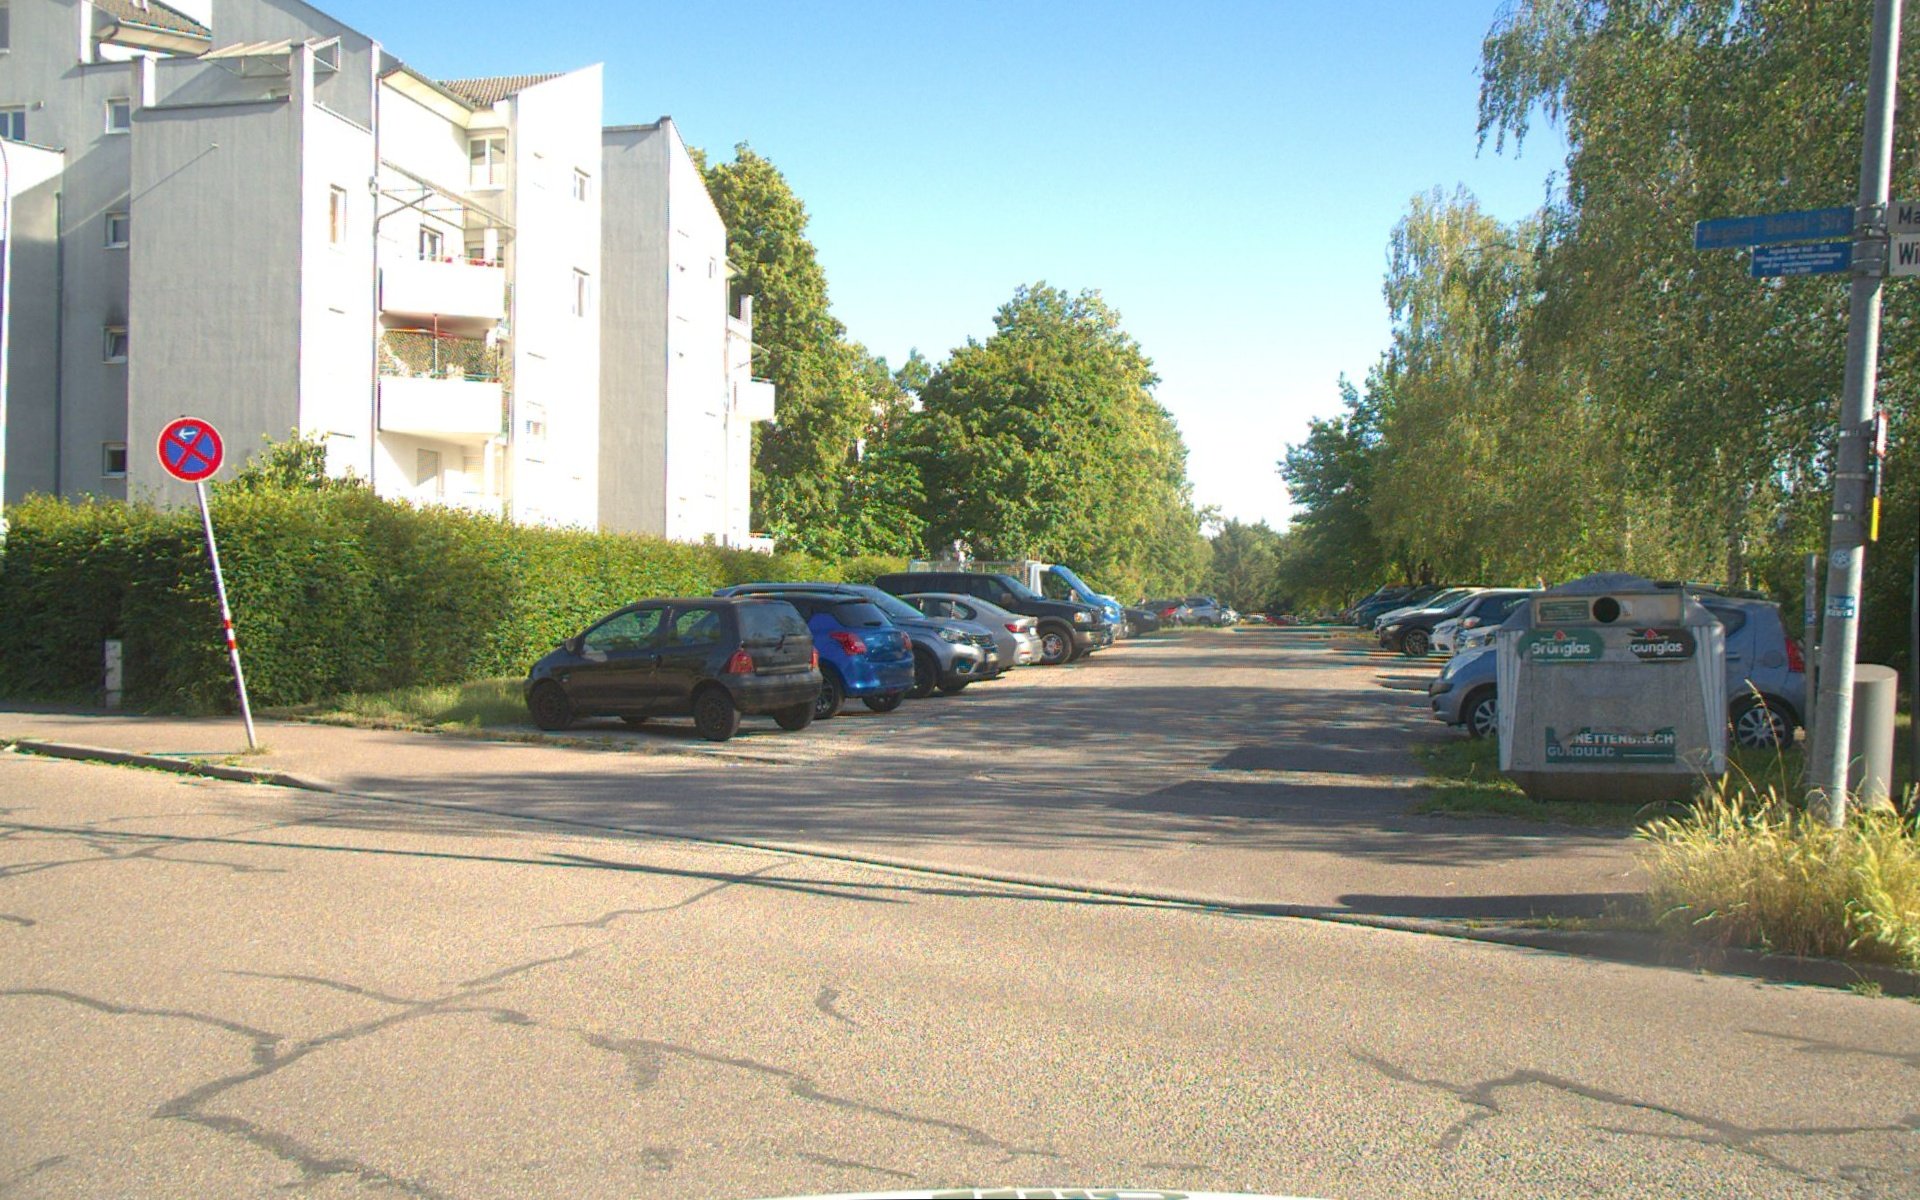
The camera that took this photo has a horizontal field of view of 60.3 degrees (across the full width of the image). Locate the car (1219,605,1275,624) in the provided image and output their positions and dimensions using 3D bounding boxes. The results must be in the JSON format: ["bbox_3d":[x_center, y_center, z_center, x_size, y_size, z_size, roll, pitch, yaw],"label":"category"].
[{"bbox_3d":[18.939,0.962,109.188,3.567,1.234,1.849,0,0,12],"label":"car"}]

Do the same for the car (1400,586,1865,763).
[{"bbox_3d":[6.466,0.647,16.069,3.973,1.464,1.633,2,0,26],"label":"car"}]

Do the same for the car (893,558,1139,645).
[{"bbox_3d":[1.506,0.027,43.358,6.122,2.184,2.413,0,0,11],"label":"car"}]

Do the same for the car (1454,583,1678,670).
[{"bbox_3d":[11.579,0.484,31.802,3.903,1.529,1.949,1,0,18],"label":"car"}]

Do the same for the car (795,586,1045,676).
[{"bbox_3d":[-0.665,0.534,28.568,4.054,1.480,1.621,-1,0,11],"label":"car"}]

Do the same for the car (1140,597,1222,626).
[{"bbox_3d":[10.875,0.551,81.206,3.855,1.357,1.849,0,0,12],"label":"car"}]

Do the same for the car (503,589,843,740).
[{"bbox_3d":[-3.204,0.647,18.382,3.456,1.492,1.701,1,1,30],"label":"car"}]

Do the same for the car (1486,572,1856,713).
[{"bbox_3d":[8.929,0.494,21.077,3.966,1.631,1.792,1,1,8],"label":"car"}]

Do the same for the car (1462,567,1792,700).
[{"bbox_3d":[9.430,0.433,23.657,4.016,1.736,1.792,1,1,7],"label":"car"}]

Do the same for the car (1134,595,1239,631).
[{"bbox_3d":[8.750,0.481,63.734,3.855,1.357,1.849,0,0,12],"label":"car"}]

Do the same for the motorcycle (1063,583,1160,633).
[{"bbox_3d":[5.069,0.265,55.373,3.123,1.624,0.924,0,0,14],"label":"motorcycle"}]

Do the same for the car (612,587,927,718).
[{"bbox_3d":[-2.395,0.618,20.755,3.607,1.523,1.650,-1,0,26],"label":"car"}]

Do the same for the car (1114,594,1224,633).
[{"bbox_3d":[7.708,0.479,60.729,3.855,1.357,1.849,0,0,12],"label":"car"}]

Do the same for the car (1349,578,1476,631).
[{"bbox_3d":[14.763,0.153,54.019,3.903,1.613,1.799,1,0,16],"label":"car"}]

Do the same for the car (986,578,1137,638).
[{"bbox_3d":[3.176,0.220,51.520,4.426,1.802,1.848,0,0,14],"label":"car"}]

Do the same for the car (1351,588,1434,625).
[{"bbox_3d":[21.389,0.319,81.822,3.903,1.738,1.799,1,0,16],"label":"car"}]

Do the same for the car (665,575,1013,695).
[{"bbox_3d":[-1.810,0.503,24.775,4.887,1.683,1.785,-1,0,19],"label":"car"}]

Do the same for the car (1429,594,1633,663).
[{"bbox_3d":[11.832,0.573,34.417,3.903,1.300,1.798,1,0,18],"label":"car"}]

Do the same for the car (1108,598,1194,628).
[{"bbox_3d":[9.052,0.612,78.243,3.855,1.357,1.849,0,0,12],"label":"car"}]

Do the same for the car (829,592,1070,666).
[{"bbox_3d":[-0.181,0.537,32.278,4.357,1.358,1.848,0,0,15],"label":"car"}]

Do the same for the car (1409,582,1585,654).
[{"bbox_3d":[12.796,0.421,39.586,3.903,1.613,1.799,1,0,16],"label":"car"}]

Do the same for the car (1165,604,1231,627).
[{"bbox_3d":[14.489,0.932,100.721,3.855,1.357,1.849,0,0,12],"label":"car"}]

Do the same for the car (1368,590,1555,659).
[{"bbox_3d":[11.172,0.527,36.986,3.903,1.425,1.799,1,0,16],"label":"car"}]

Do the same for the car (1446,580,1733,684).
[{"bbox_3d":[10.111,0.489,26.830,4.016,1.525,1.792,1,1,6],"label":"car"}]

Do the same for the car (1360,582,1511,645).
[{"bbox_3d":[13.126,0.360,45.721,3.903,1.613,1.799,1,0,16],"label":"car"}]

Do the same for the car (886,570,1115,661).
[{"bbox_3d":[0.863,0.292,34.500,4.427,1.802,1.848,0,0,18],"label":"car"}]
